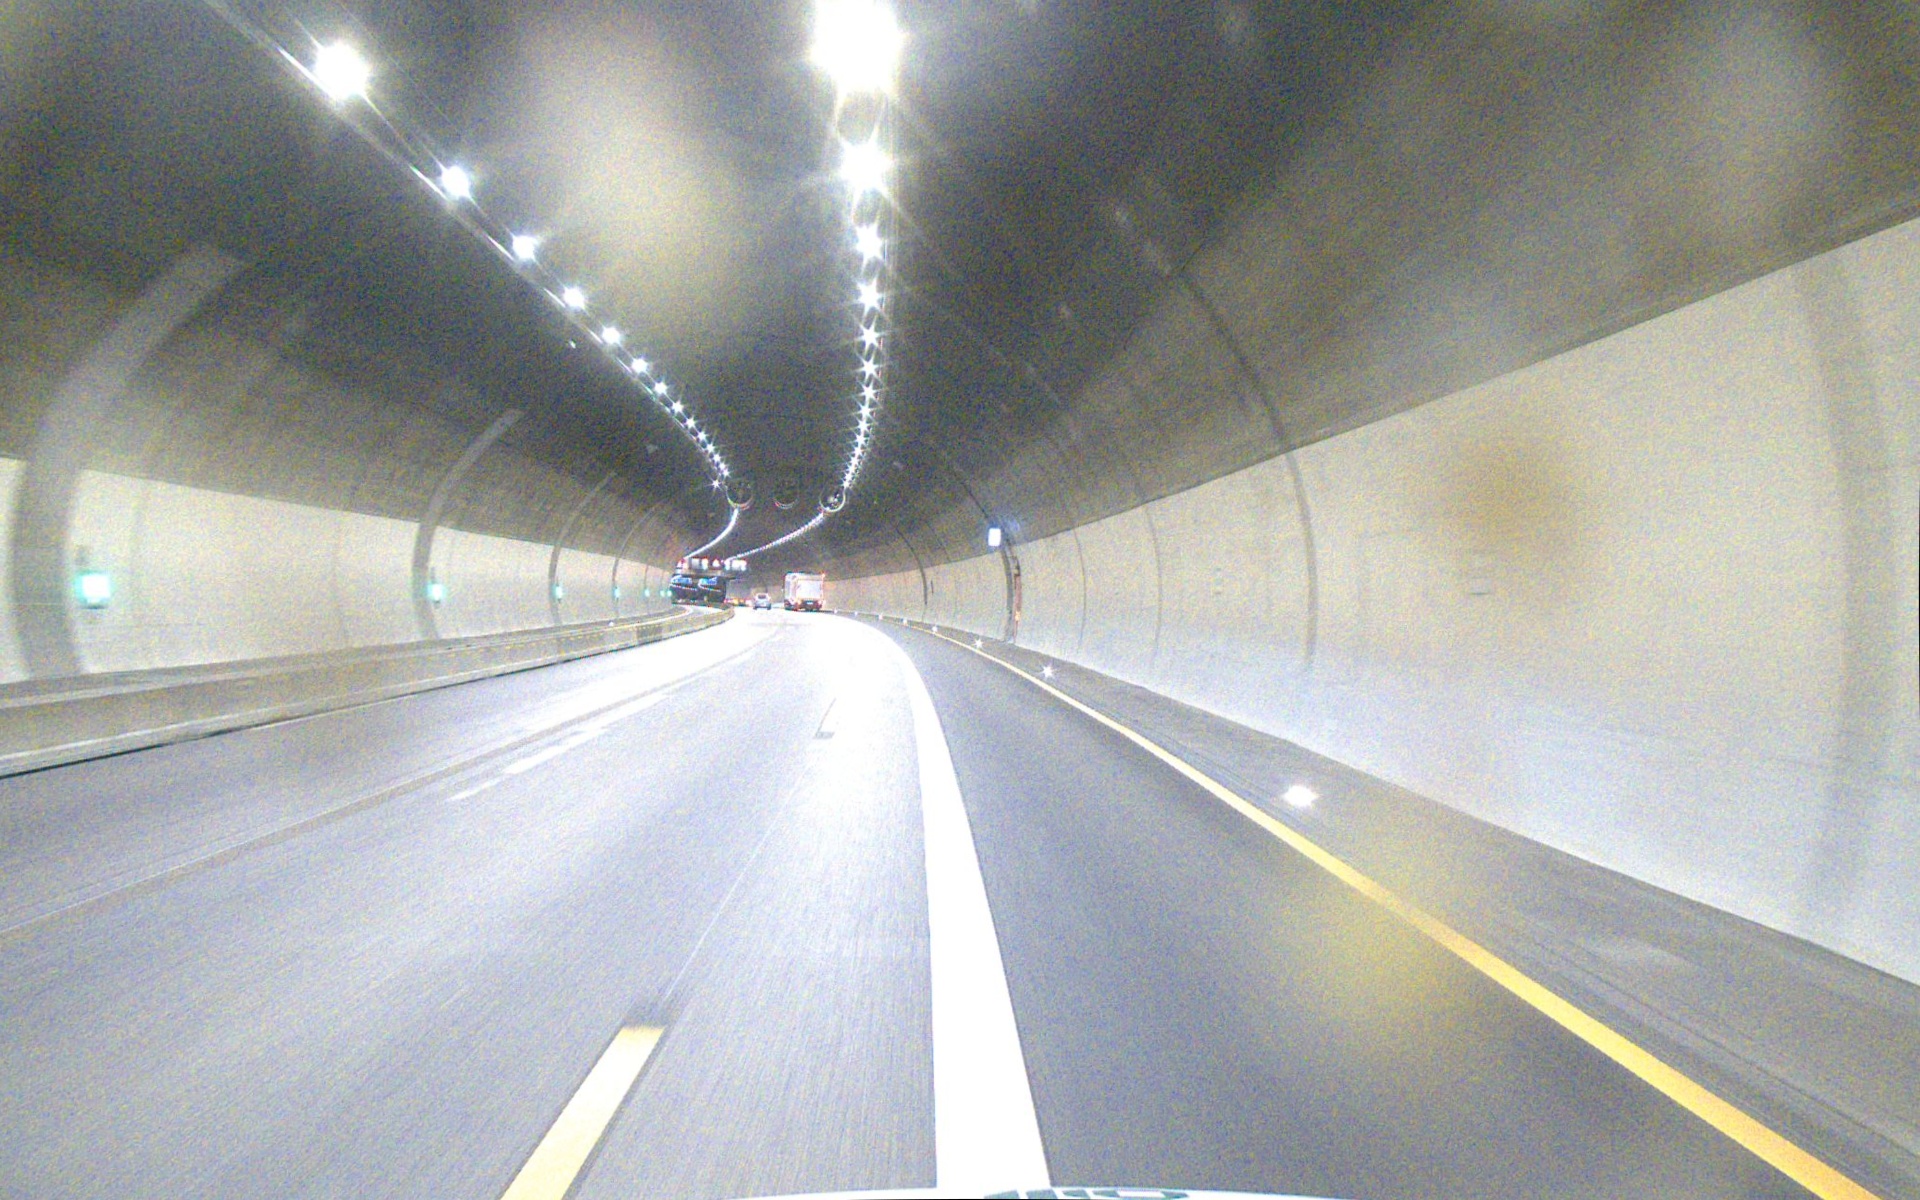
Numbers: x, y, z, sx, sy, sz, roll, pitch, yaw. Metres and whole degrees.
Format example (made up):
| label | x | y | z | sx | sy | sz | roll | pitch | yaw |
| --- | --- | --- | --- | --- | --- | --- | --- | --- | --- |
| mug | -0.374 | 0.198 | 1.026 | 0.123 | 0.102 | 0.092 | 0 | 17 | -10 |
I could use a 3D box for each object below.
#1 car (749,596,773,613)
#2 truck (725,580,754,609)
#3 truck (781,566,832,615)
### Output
| label | x | y | z | sx | sy | sz | roll | pitch | yaw |
| --- | --- | --- | --- | --- | --- | --- | --- | --- | --- |
| car | -20.263 | 0.494 | 168.371 | 1.959 | 1.609 | 3.987 | 3 | 0 | -13 |
| truck | -33.962 | -0.829 | 254.461 | 3.413 | 4.392 | 10.918 | 1 | 0 | -12 |
| truck | -14.714 | -0.945 | 157.516 | 3.413 | 4.391 | 10.918 | 2 | 0 | -12 |
